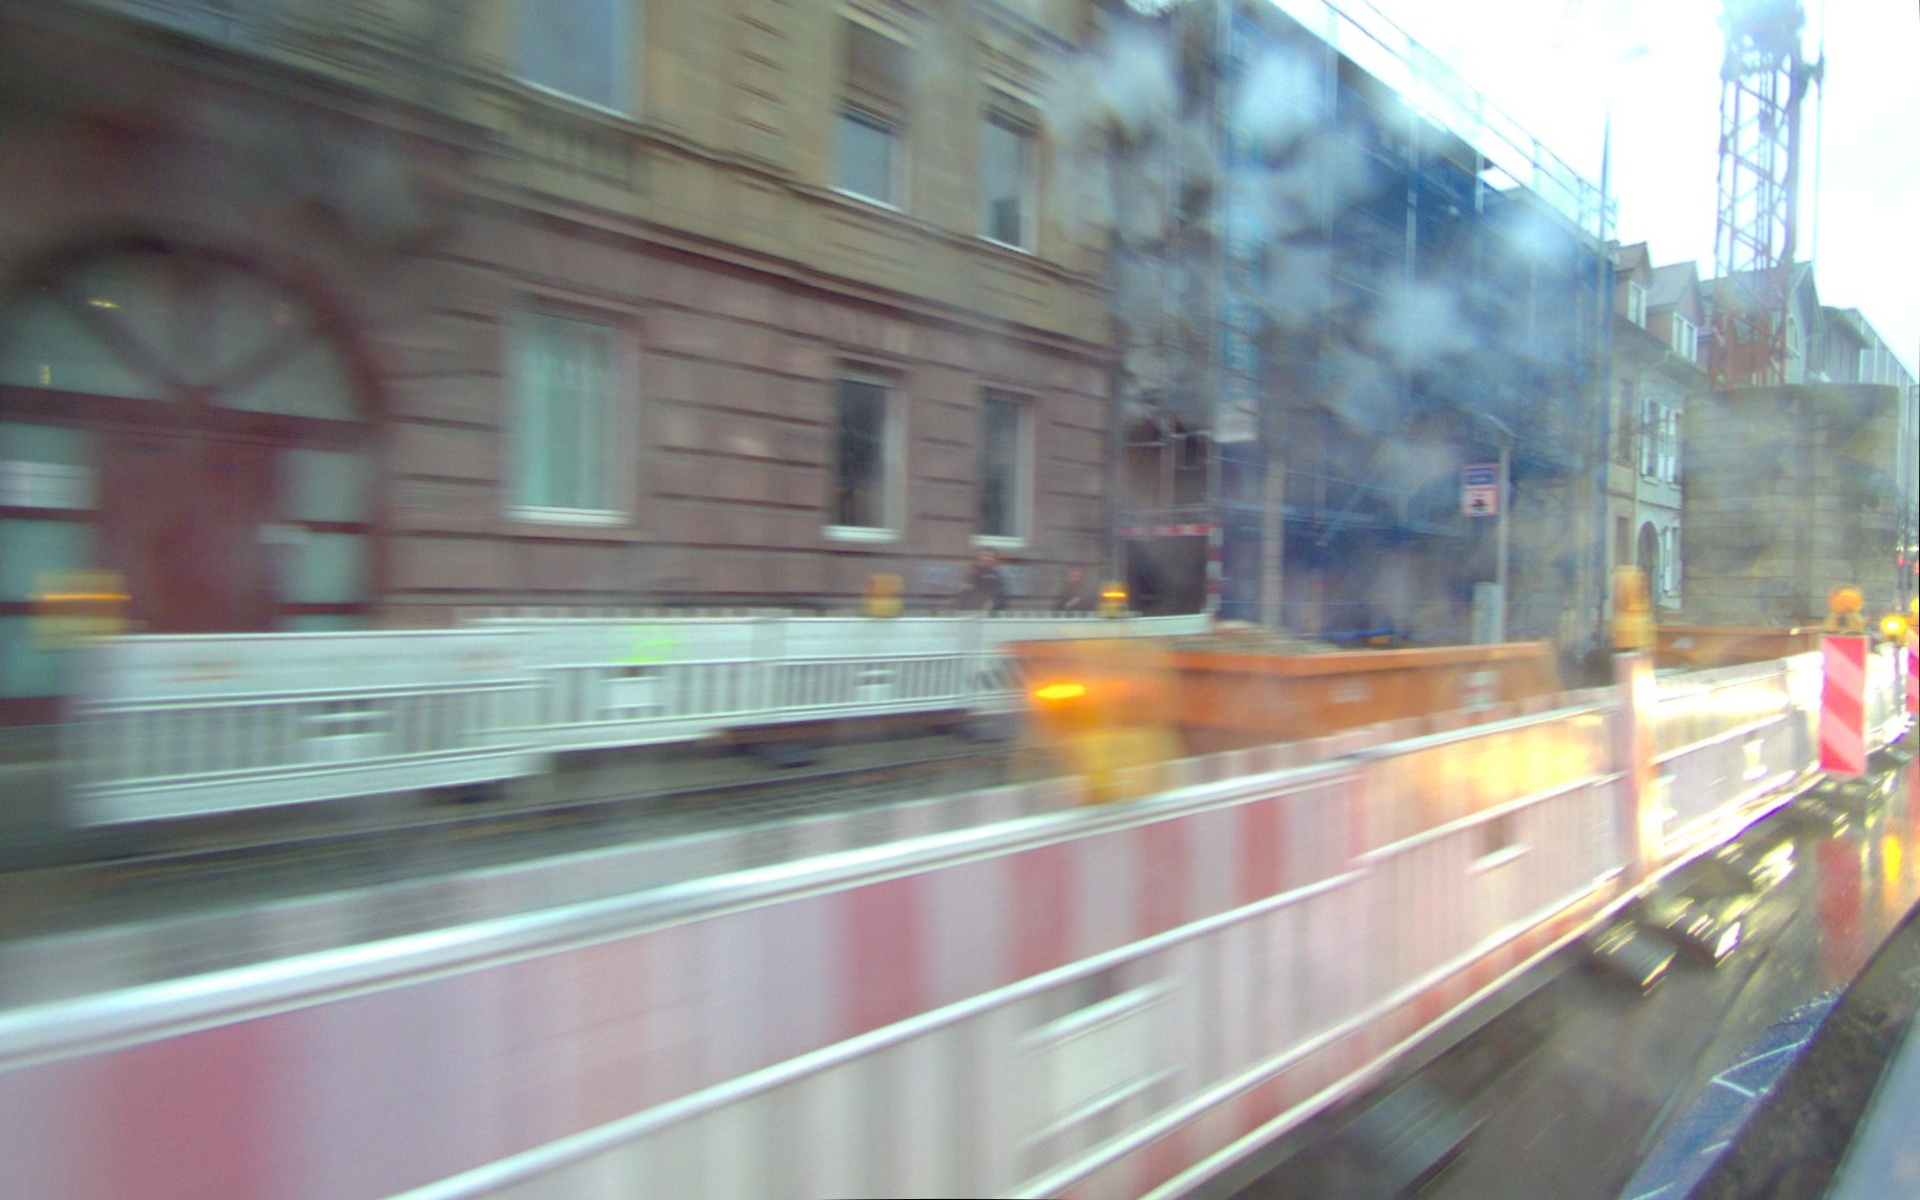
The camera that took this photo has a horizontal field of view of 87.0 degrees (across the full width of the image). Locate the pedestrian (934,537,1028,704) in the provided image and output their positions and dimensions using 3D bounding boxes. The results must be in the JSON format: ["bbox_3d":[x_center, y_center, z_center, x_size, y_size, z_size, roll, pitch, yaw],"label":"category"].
[{"bbox_3d":[0.226,0.204,10.995,0.714,1.731,0.643,1,3,-41],"label":"pedestrian"}]

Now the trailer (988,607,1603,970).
[{"bbox_3d":[2.074,0.763,5.865,3.466,1.362,1.855,0,2,-41],"label":"trailer"}]

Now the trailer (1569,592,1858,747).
[{"bbox_3d":[9.384,0.701,12.441,4.762,1.508,1.839,0,2,-41],"label":"trailer"}]

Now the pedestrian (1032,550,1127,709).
[{"bbox_3d":[1.295,0.293,11.014,0.639,1.641,0.712,1,3,-40],"label":"pedestrian"}]
